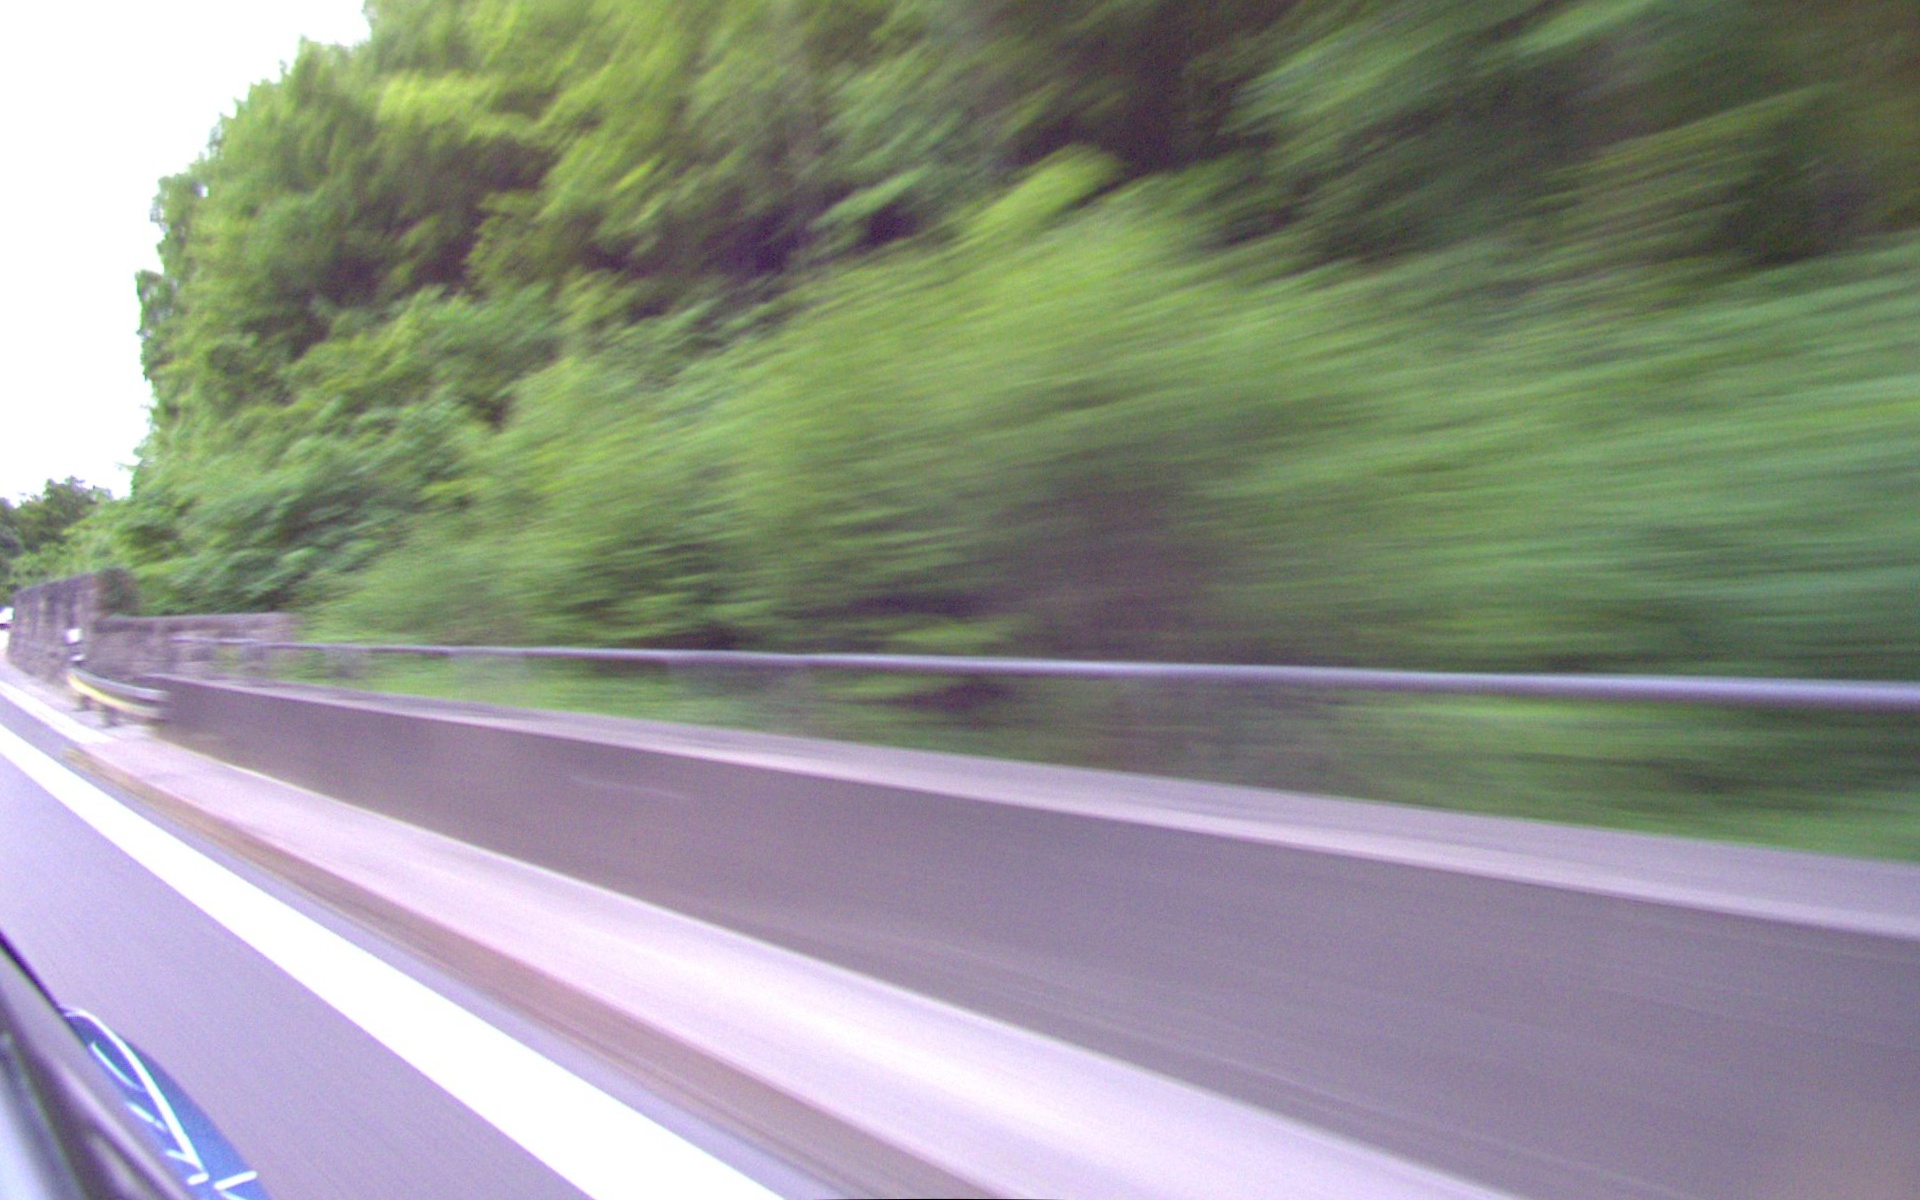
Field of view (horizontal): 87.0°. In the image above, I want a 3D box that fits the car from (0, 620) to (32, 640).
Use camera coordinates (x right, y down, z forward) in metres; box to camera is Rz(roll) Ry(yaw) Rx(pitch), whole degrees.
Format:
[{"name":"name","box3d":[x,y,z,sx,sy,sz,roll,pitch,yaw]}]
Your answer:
[{"name":"car","box3d":[-81.901,2.580,87.069,1.965,1.630,4.013,2,-2,-26]}]
